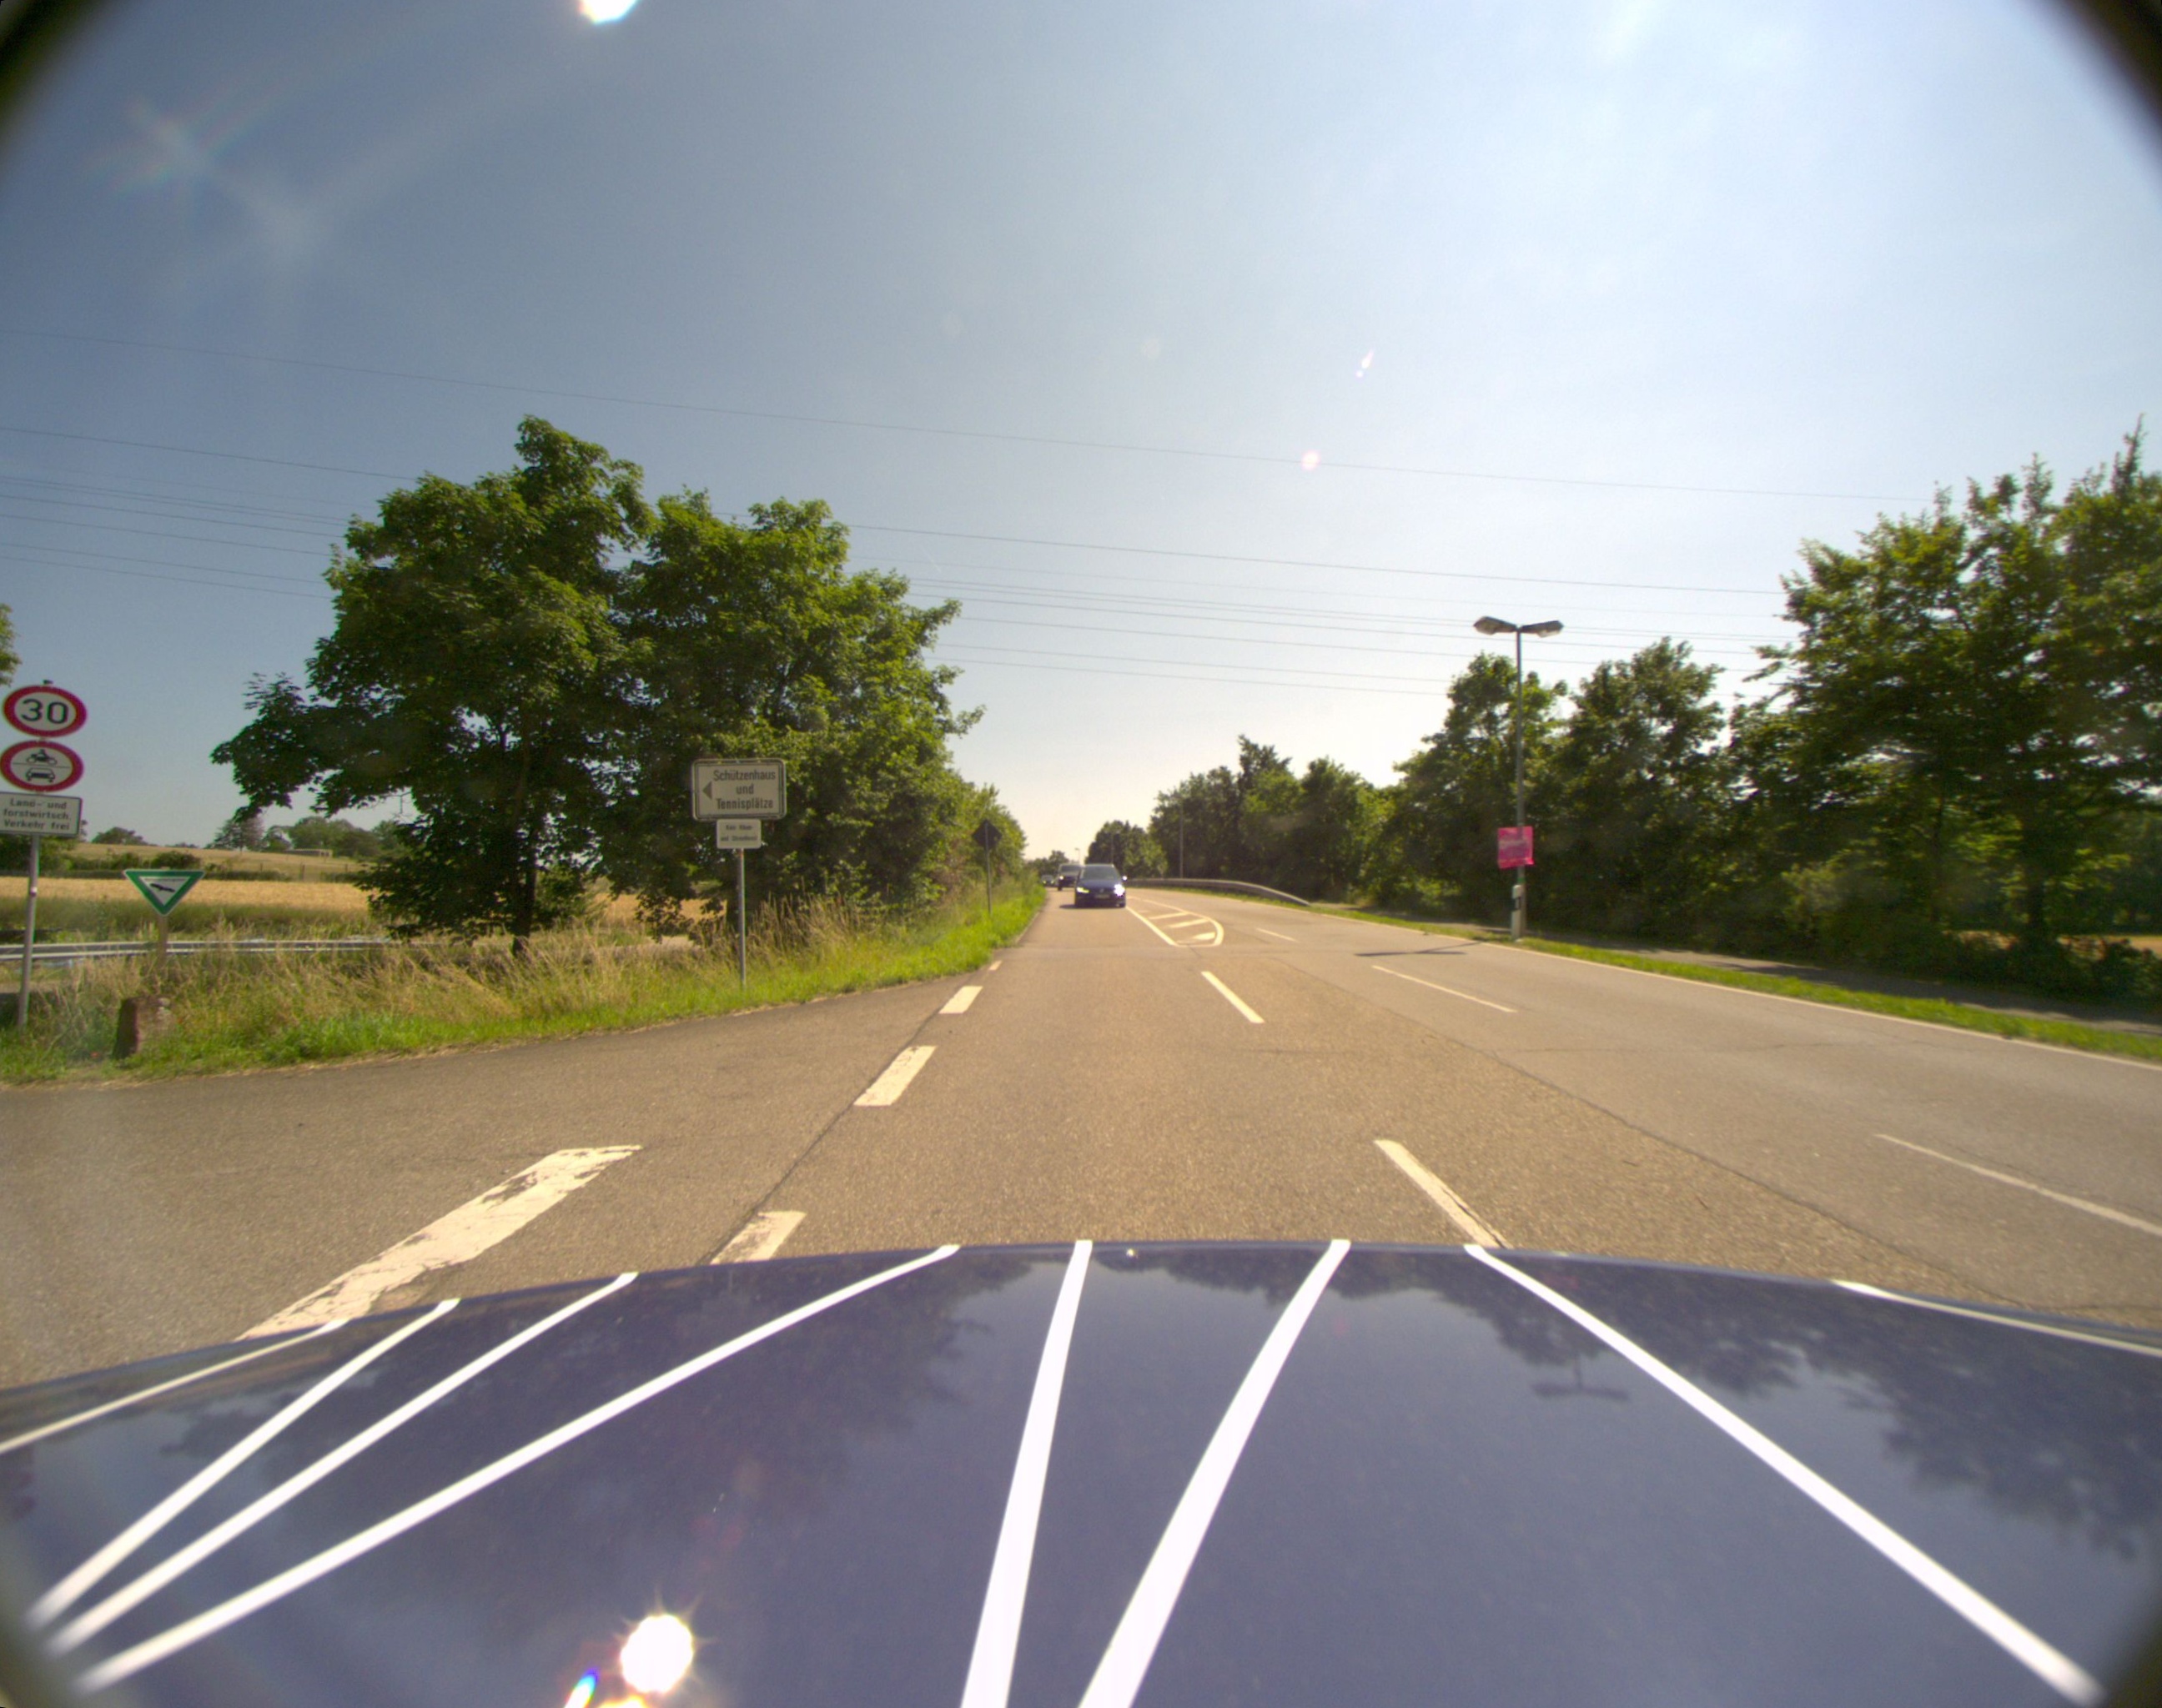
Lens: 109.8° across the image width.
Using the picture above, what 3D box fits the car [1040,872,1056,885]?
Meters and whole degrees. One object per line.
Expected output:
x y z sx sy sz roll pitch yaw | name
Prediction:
-4.365 3.194 99.774 1.765 1.530 3.682 -2 0 -7 | car

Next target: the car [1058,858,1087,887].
-0.632 1.386 55.261 1.765 1.953 4.261 -2 -2 -4 | car

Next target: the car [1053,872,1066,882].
-3.589 3.861 126.556 1.830 1.630 4.139 -1 -1 -7 | car

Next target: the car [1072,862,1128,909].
0.611 1.114 27.429 1.765 1.519 4.423 -2 -2 -1 | car
